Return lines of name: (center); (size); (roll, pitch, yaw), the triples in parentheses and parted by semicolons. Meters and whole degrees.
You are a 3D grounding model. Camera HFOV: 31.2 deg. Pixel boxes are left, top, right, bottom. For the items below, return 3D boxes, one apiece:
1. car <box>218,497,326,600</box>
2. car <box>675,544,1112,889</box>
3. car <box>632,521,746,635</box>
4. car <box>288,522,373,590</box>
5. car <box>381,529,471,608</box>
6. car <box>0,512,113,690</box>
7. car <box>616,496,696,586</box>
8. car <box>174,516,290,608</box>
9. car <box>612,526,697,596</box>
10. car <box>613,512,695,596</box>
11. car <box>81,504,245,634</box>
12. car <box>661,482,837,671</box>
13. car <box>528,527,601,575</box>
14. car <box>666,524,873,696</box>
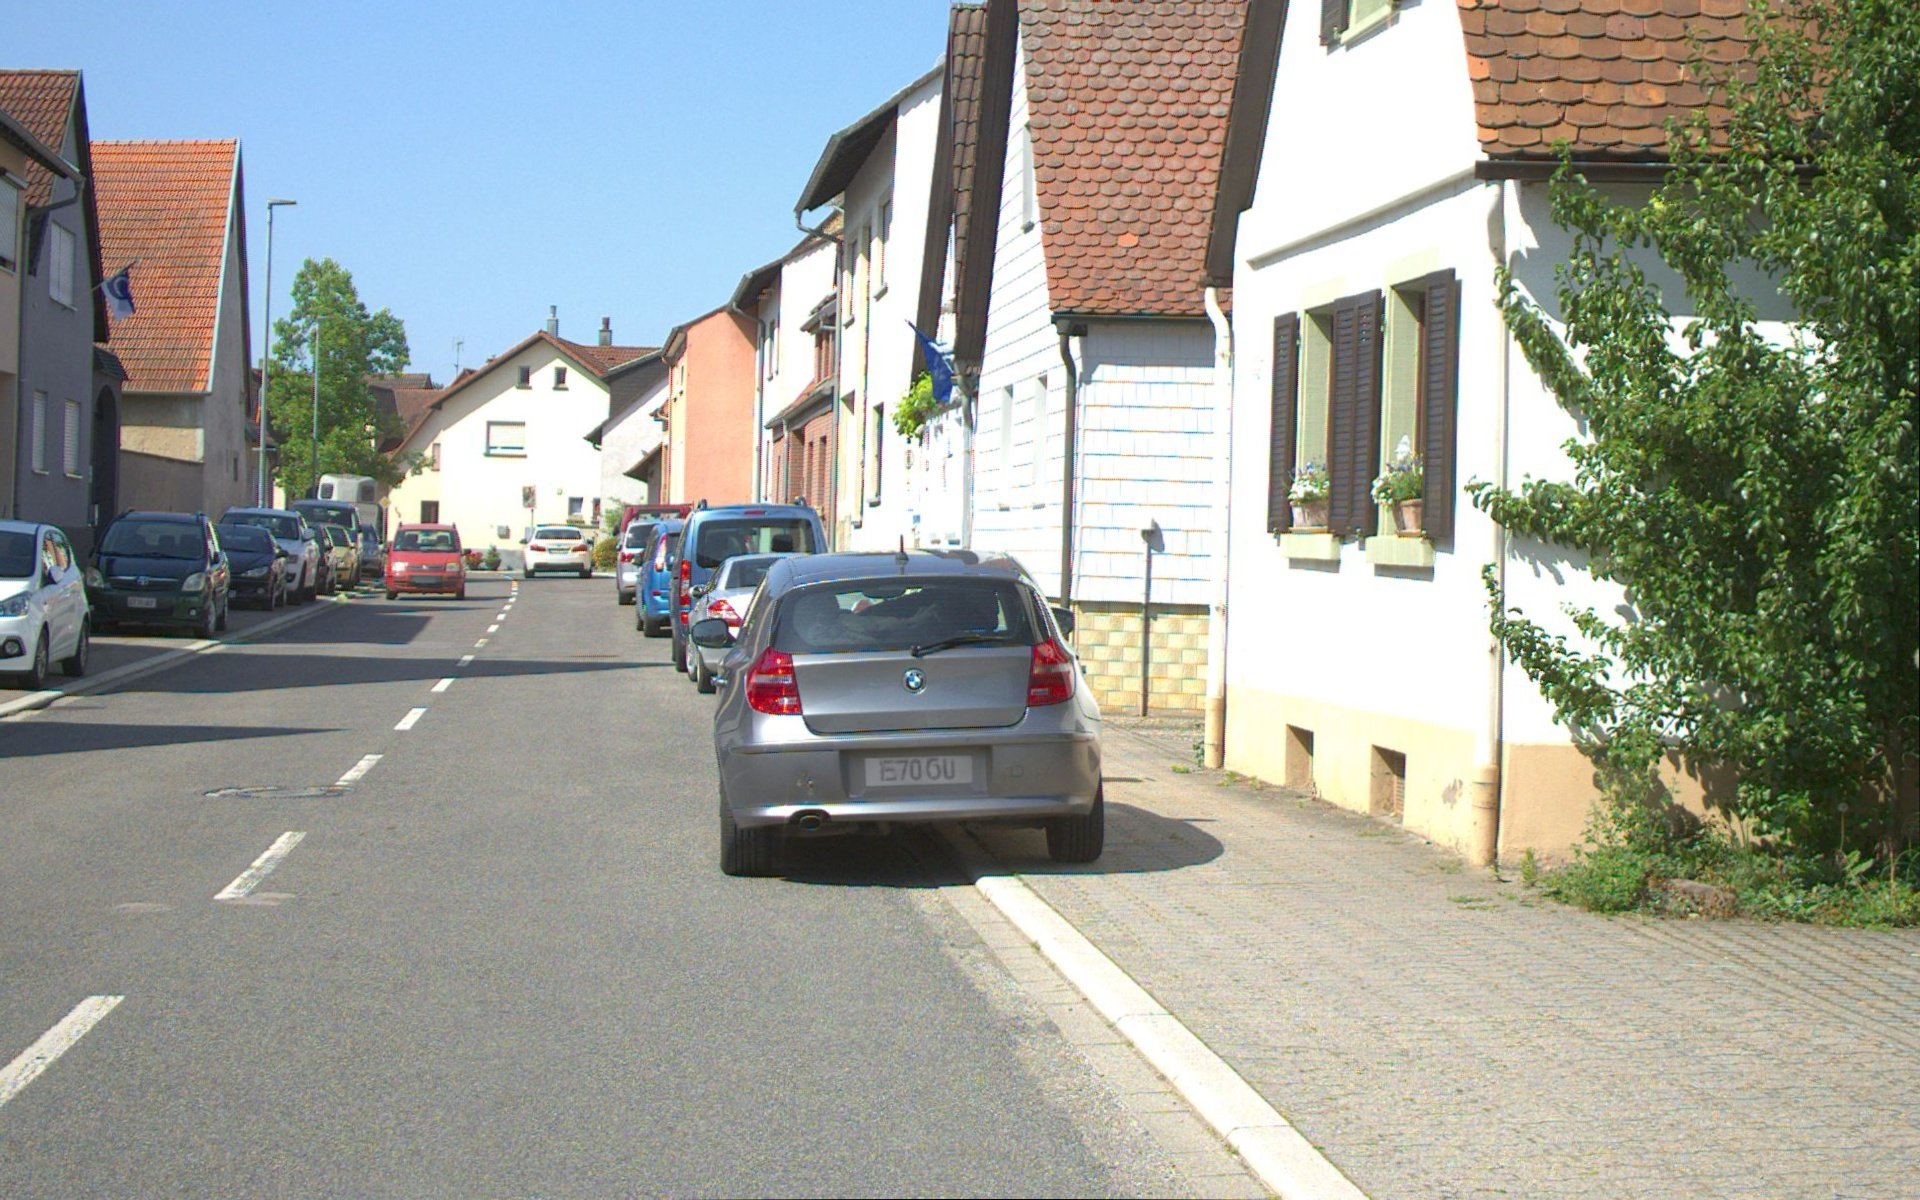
car: (-12.275, -0.920, 61.493); (1.527, 1.707, 3.626); (3, 1, -7)
car: (-0.434, 0.458, 16.428); (1.704, 1.428, 3.890); (-1, 1, -7)
car: (-3.877, -0.327, 48.897); (1.420, 1.510, 3.305); (3, 1, -7)
car: (-13.500, -0.946, 73.846); (1.527, 1.351, 3.626); (3, 1, -7)
car: (-10.771, -0.648, 69.480); (1.600, 1.484, 3.626); (3, 1, -7)
car: (-9.239, -0.058, 32.249); (1.806, 1.542, 4.404); (3, 1, -5)
car: (-7.036, -1.354, 79.547); (1.766, 1.997, 3.450); (1, 0, -5)
car: (-12.101, -0.634, 57.290); (1.504, 1.448, 3.509); (1, 0, -6)
car: (-6.594, -0.838, 74.145); (1.766, 1.428, 3.450); (1, 0, -5)
car: (-5.924, -0.896, 66.355); (1.420, 1.510, 3.305); (3, 1, -7)
car: (-10.496, -0.419, 45.499); (1.619, 1.572, 3.962); (3, 1, -7)
car: (-2.369, -0.273, 37.886); (1.649, 1.903, 3.626); (3, 1, -7)
car: (-11.193, -1.364, 97.423); (1.993, 1.284, 4.001); (1, 0, -6)
car: (-1.873, 0.066, 32.991); (1.704, 1.491, 3.453); (3, 1, -7)
